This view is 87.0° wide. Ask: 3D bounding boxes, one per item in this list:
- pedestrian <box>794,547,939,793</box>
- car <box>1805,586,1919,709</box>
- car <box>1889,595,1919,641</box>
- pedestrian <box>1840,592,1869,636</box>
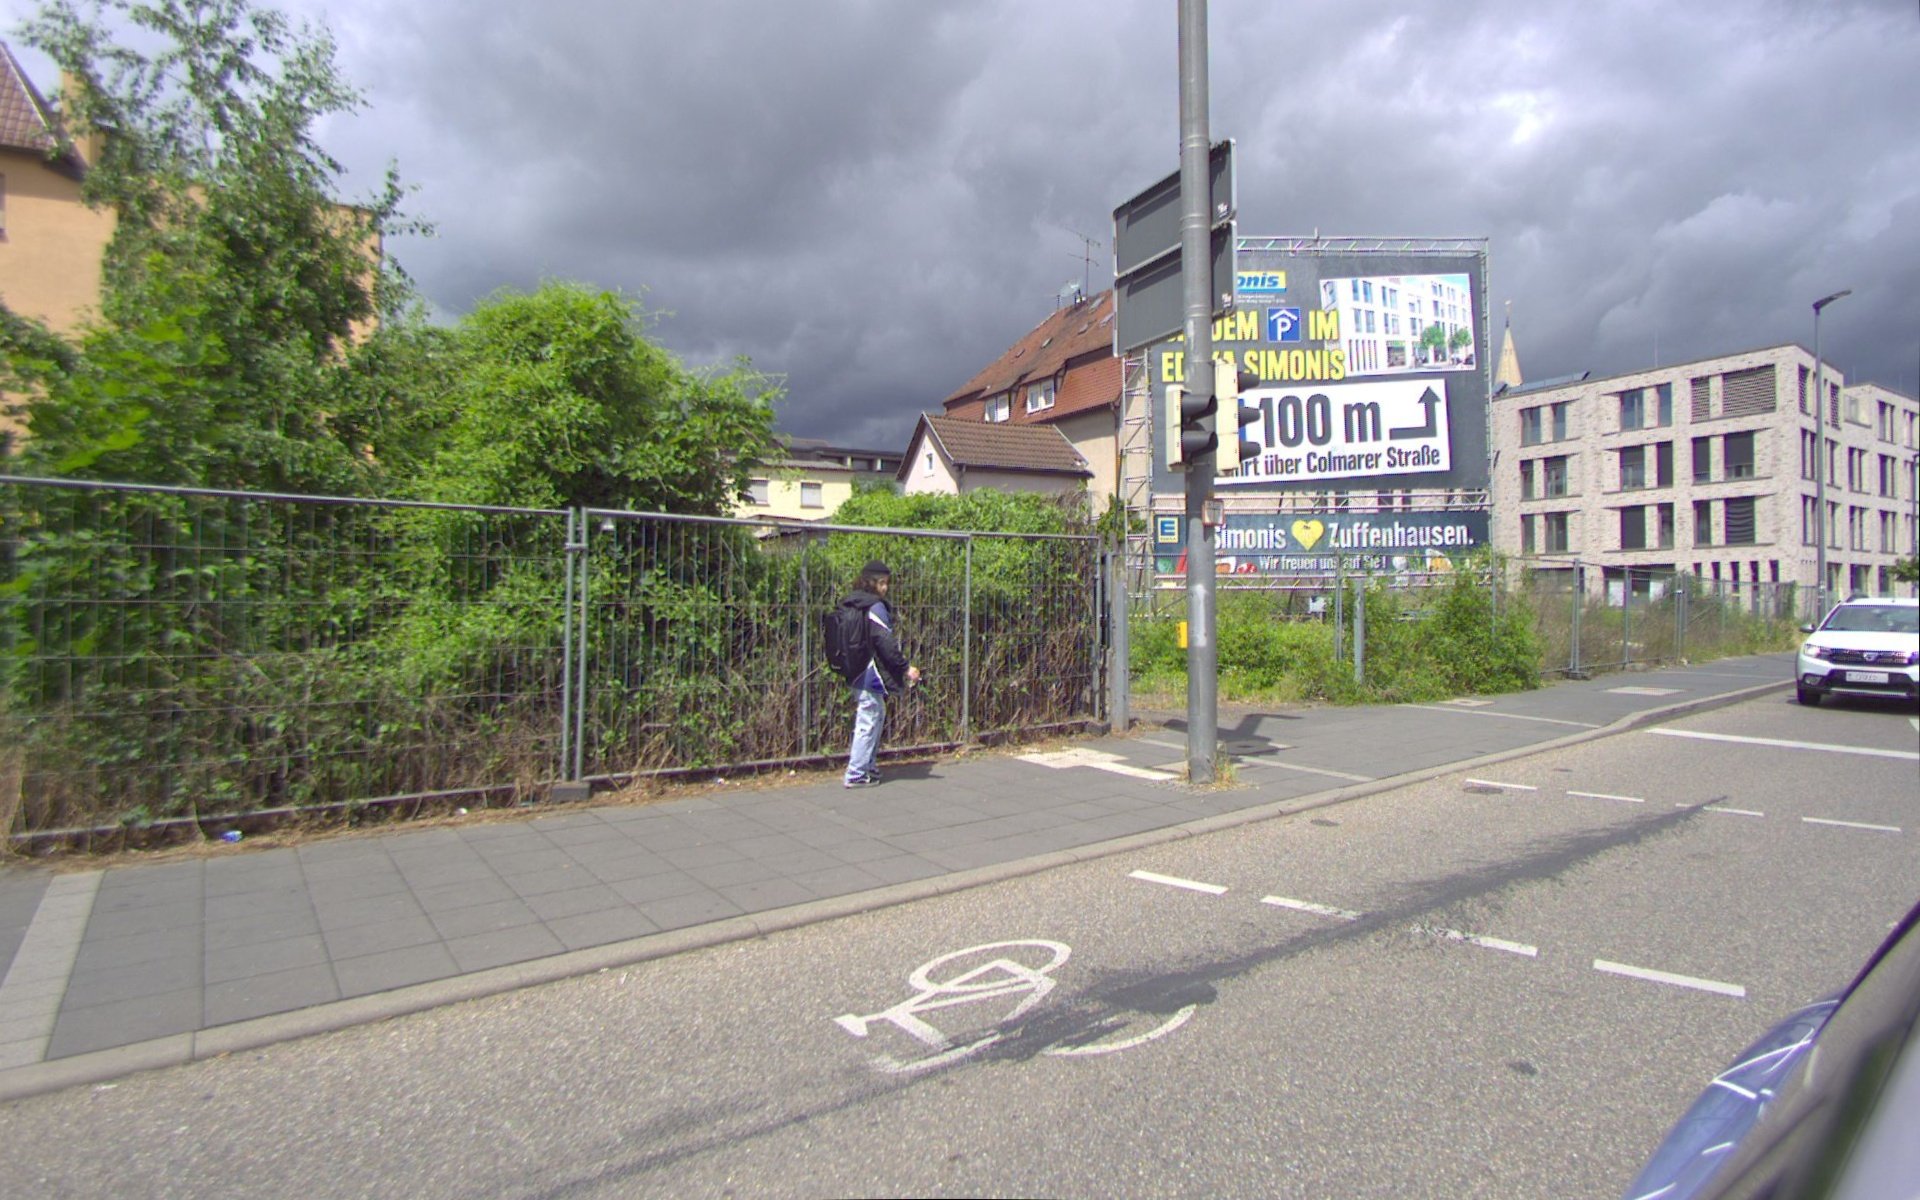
[{"bbox_3d":[-0.692,0.473,7.352,0.762,1.663,0.768,2,0,-29],"label":"pedestrian"},{"bbox_3d":[13.600,0.605,14.505,3.727,1.569,1.717,0,1,-41],"label":"car"},{"bbox_3d":[32.738,0.590,34.016,3.726,1.441,1.678,-1,2,-39],"label":"car"},{"bbox_3d":[31.826,0.483,36.005,0.769,1.531,0.673,1,0,-41],"label":"pedestrian"}]
